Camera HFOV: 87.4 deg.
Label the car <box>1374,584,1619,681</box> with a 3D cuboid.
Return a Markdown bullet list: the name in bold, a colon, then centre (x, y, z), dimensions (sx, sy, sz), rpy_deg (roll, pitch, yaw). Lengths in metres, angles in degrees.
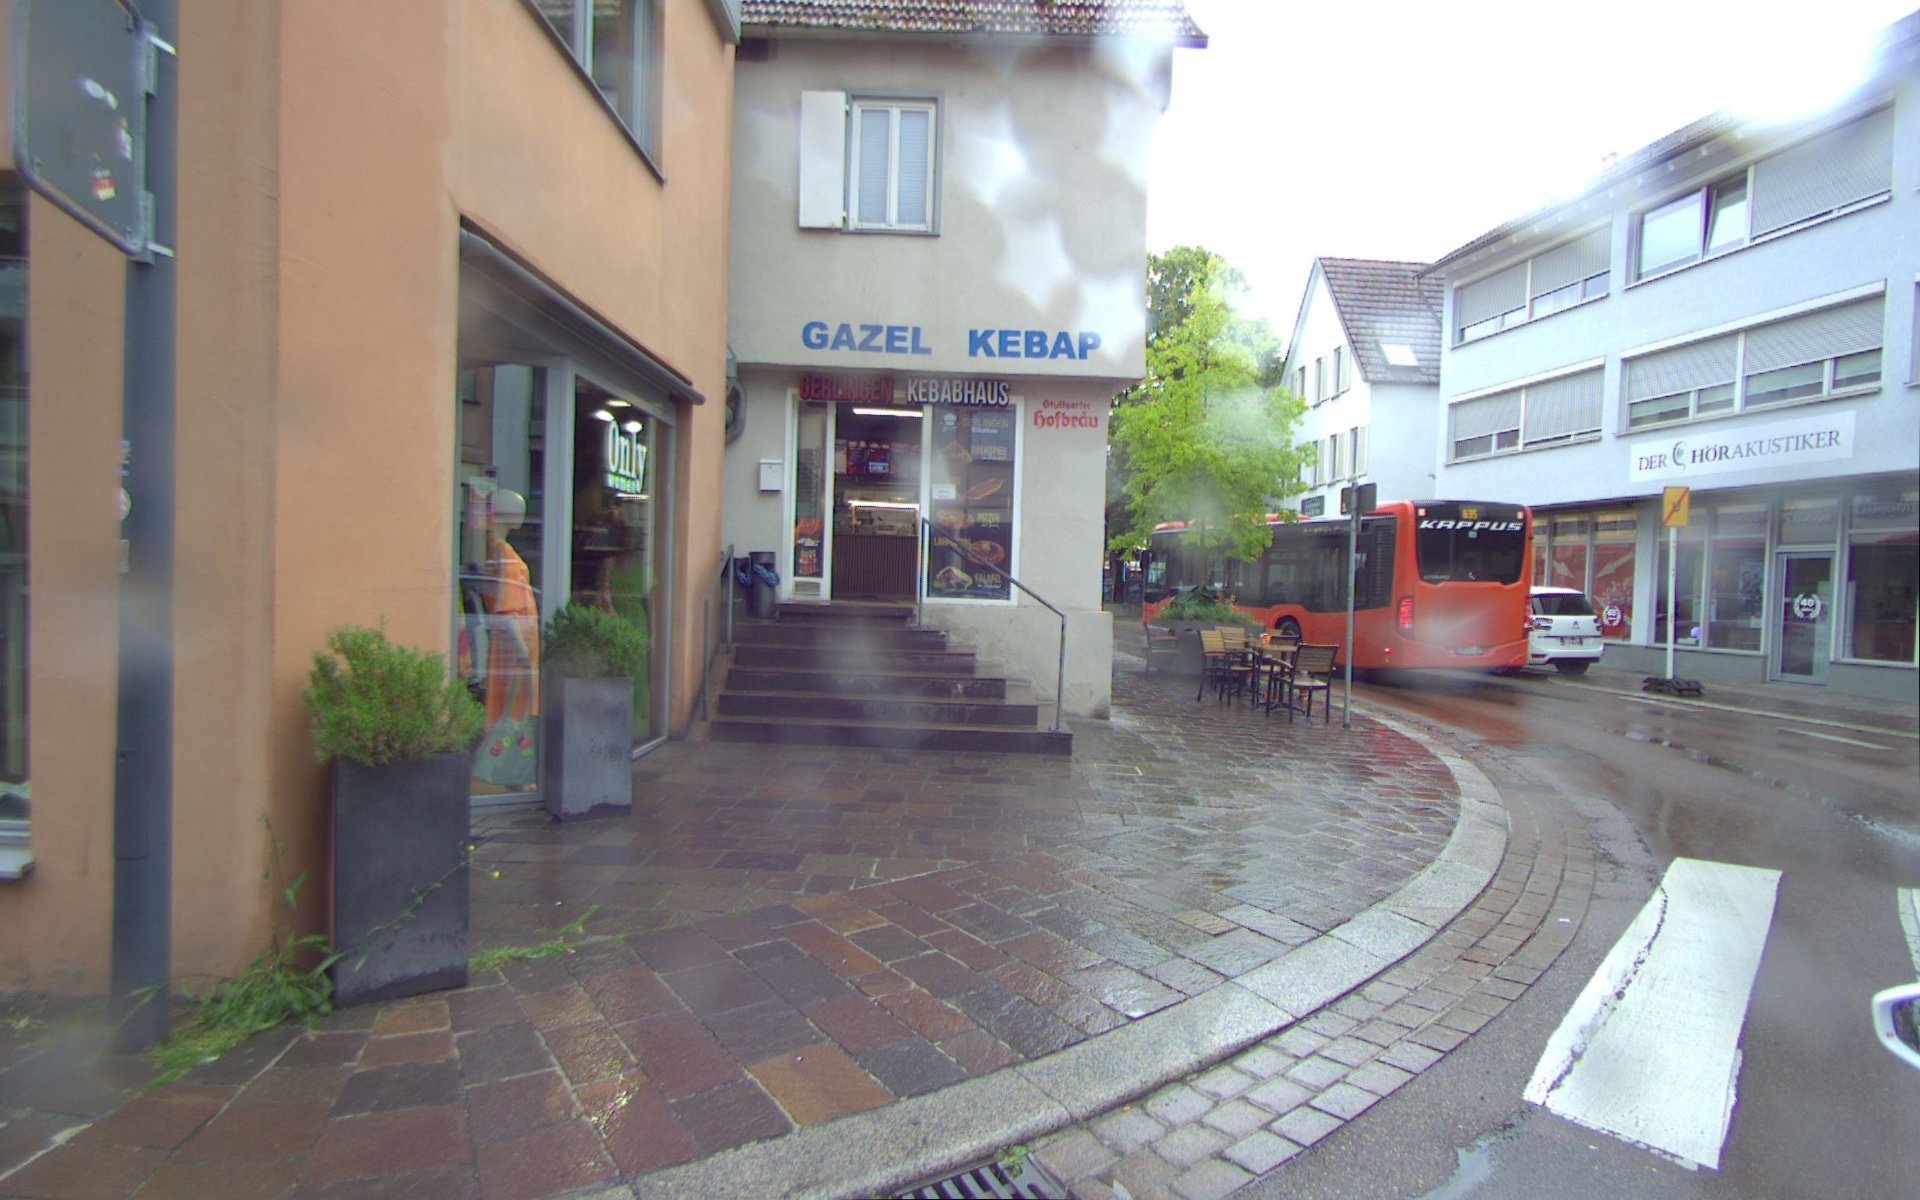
- **car**: centre (10.338, 0.527, 19.814), dimensions (1.751, 1.653, 4.457), rpy_deg (0, 2, -13)

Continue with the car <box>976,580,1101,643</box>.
- **car**: centre (2.023, 0.271, 27.093), dimensions (1.702, 1.433, 3.959), rpy_deg (3, 1, -22)

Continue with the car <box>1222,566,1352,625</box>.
- **car**: centre (9.236, -0.147, 28.703), dimensions (1.769, 1.516, 3.851), rpy_deg (2, 0, -13)

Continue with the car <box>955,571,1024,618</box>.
- **car**: centre (1.197, -0.273, 43.057), dimensions (1.918, 1.805, 4.715), rpy_deg (0, 2, -11)

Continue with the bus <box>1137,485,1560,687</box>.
- **bus**: centre (7.109, -0.407, 21.031), dimensions (2.773, 3.130, 10.578), rpy_deg (0, 2, -13)
